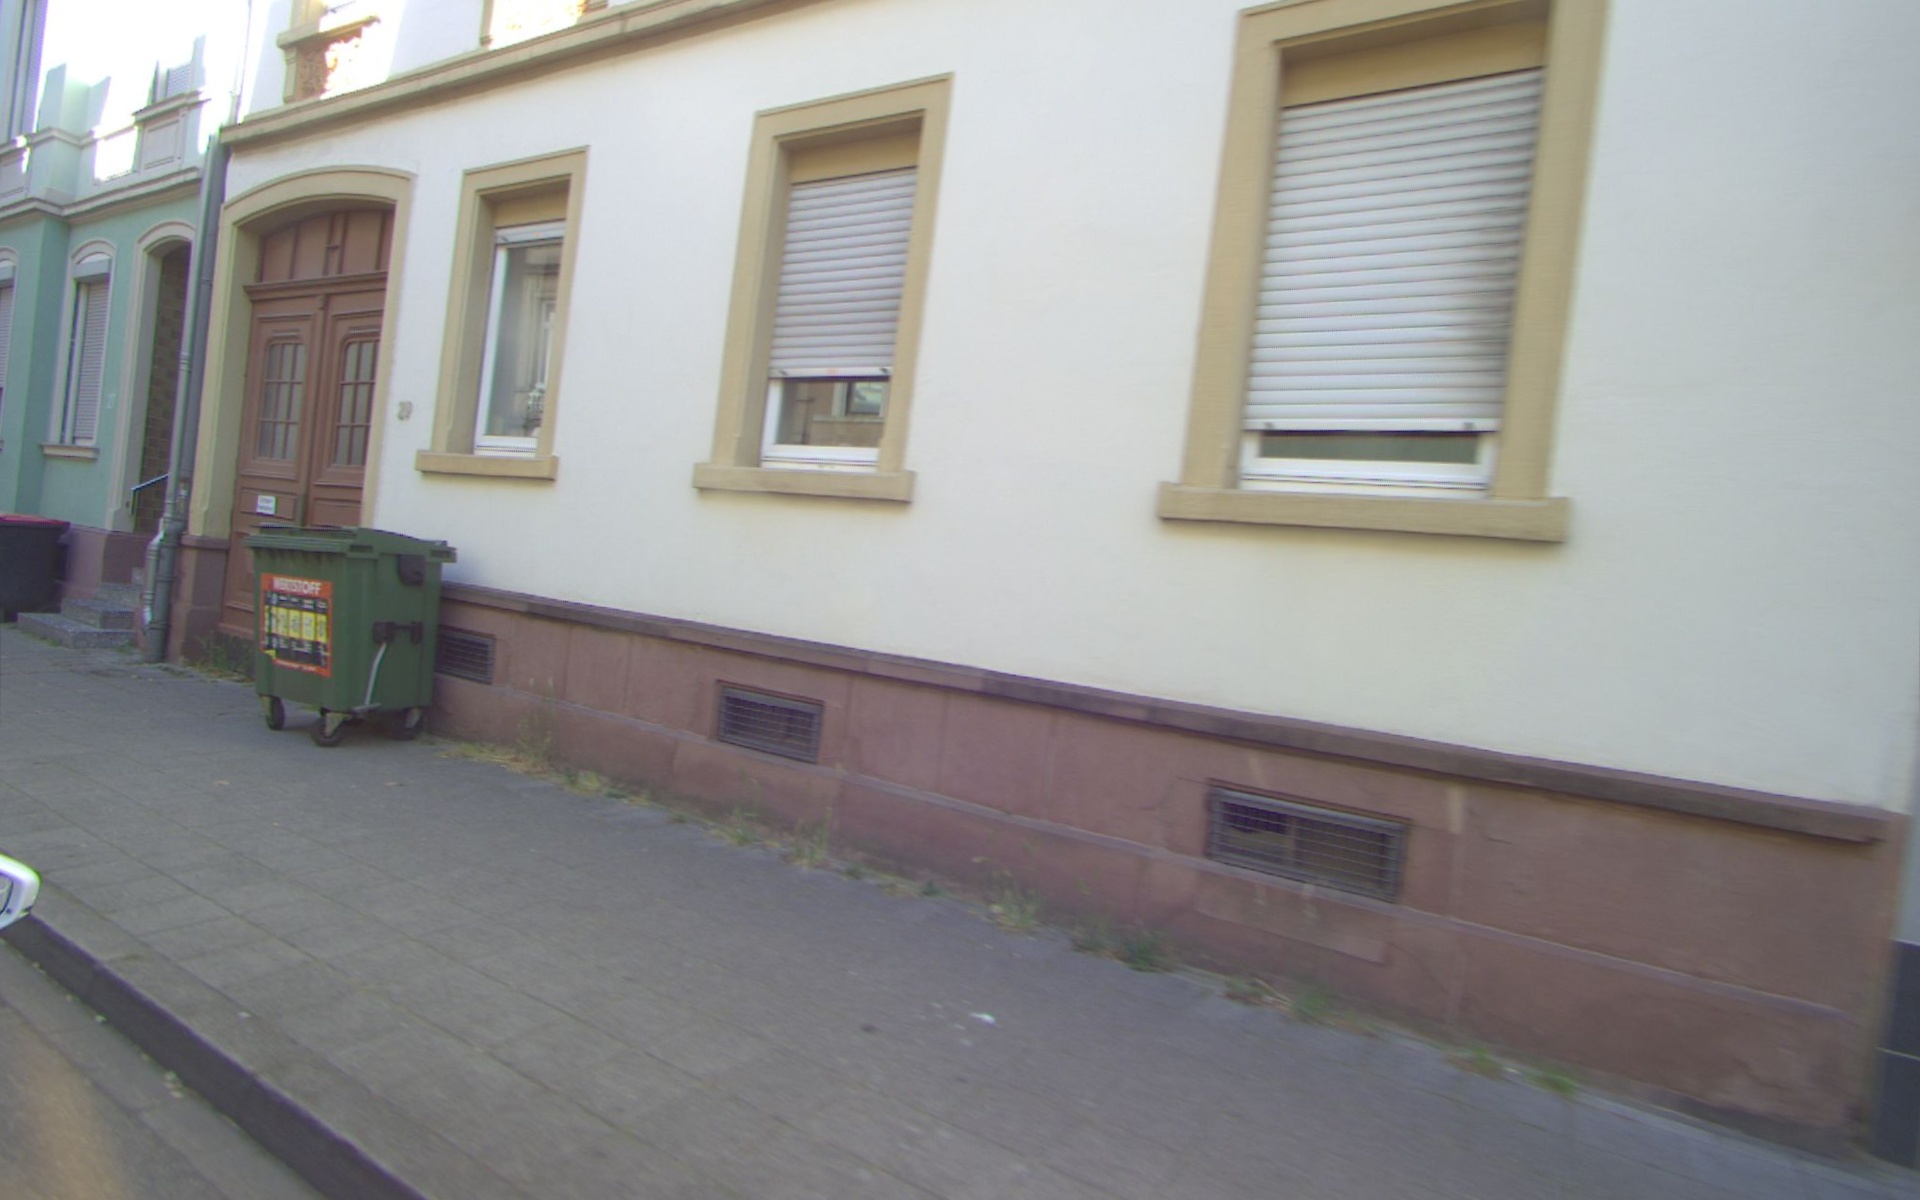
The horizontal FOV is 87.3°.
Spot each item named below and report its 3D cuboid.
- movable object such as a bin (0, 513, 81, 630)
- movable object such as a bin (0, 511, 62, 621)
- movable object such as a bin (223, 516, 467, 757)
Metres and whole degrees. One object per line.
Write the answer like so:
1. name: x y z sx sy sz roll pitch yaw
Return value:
1. movable object such as a bin: -9.527 -0.304 10.143 0.631 1.109 0.797 6 0 34
2. movable object such as a bin: -10.071 -0.379 10.510 0.663 1.102 0.813 6 0 34
3. movable object such as a bin: -4.072 0.205 6.667 1.275 1.408 0.837 5 2 31
